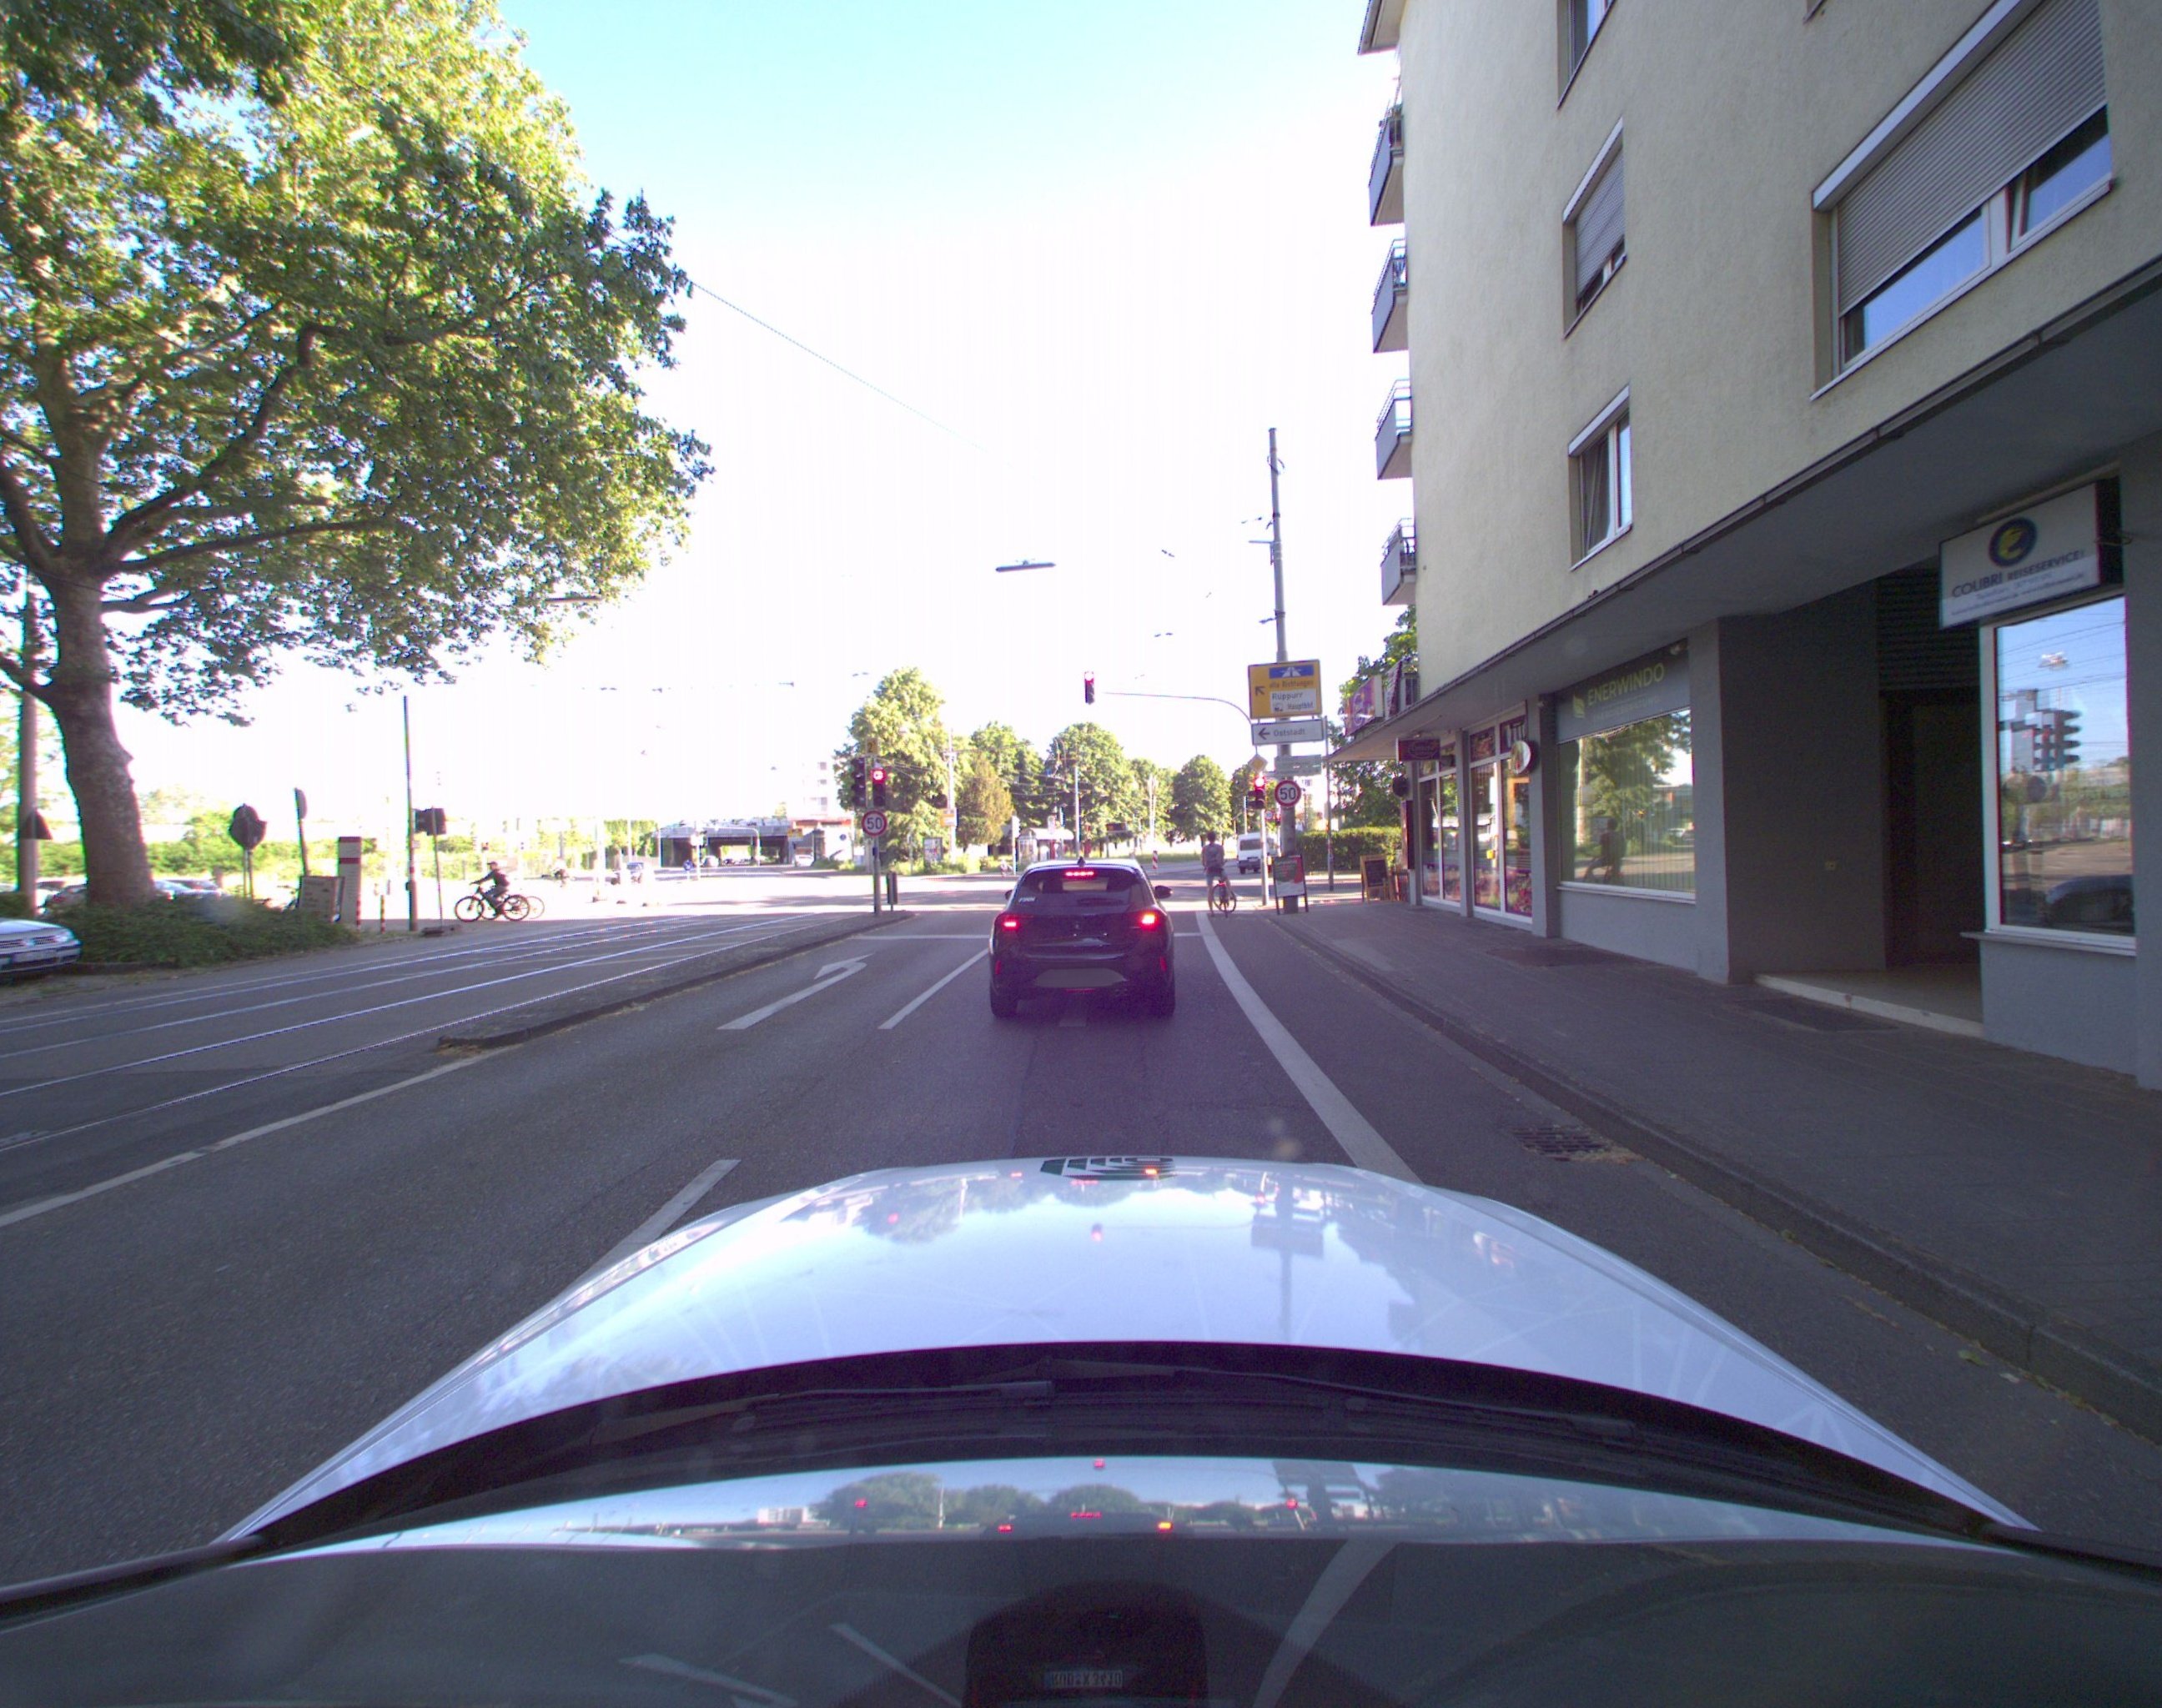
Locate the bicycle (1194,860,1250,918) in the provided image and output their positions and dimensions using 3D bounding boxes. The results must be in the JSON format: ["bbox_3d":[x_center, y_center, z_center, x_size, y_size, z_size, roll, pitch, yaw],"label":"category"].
[{"bbox_3d":[3.065,0.733,17.926,0.857,1.153,2.172,-2,0,1],"label":"bicycle"}]

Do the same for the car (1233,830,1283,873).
[{"bbox_3d":[10.147,-0.152,46.378,2.046,2.248,4.912,-2,0,20],"label":"car"}]

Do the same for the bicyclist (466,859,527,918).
[{"bbox_3d":[-15.930,0.925,22.224,1.117,1.520,0.915,-2,0,-21],"label":"bicyclist"}]

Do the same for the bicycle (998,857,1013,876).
[{"bbox_3d":[-4.304,0.726,46.733,0.603,1.031,1.983,-2,0,2],"label":"bicycle"}]

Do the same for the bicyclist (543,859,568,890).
[{"bbox_3d":[-27.987,1.094,43.397,0.856,1.595,0.650,-2,0,6],"label":"bicyclist"}]

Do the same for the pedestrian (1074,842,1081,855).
[{"bbox_3d":[-0.521,-0.793,119.528,0.915,1.981,0.991,0,-1,-4],"label":"pedestrian"}]

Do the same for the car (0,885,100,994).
[{"bbox_3d":[-16.959,1.199,11.358,4.497,1.429,1.676,0,0,0],"label":"car"}]

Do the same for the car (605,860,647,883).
[{"bbox_3d":[-31.285,1.156,56.098,1.830,1.519,3.870,0,0,-18],"label":"car"}]

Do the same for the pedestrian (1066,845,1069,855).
[{"bbox_3d":[-1.849,-0.512,110.806,0.411,1.412,0.436,0,-1,-1],"label":"pedestrian"}]

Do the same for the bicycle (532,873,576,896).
[{"bbox_3d":[-28.087,1.624,43.413,2.044,1.094,0.593,-2,0,6],"label":"bicycle"}]

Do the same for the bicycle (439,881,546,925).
[{"bbox_3d":[-15.997,1.306,22.200,2.199,1.033,0.828,-2,0,-21],"label":"bicycle"}]

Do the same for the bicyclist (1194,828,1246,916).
[{"bbox_3d":[3.045,0.389,17.899,0.938,1.851,0.864,-2,0,1],"label":"bicyclist"}]

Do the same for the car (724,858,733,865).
[{"bbox_3d":[-80.506,1.694,185.955,2.003,1.602,4.213,-2,0,-24],"label":"car"}]

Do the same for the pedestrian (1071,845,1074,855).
[{"bbox_3d":[-1.116,-0.512,110.239,0.411,1.412,0.436,0,-1,1],"label":"pedestrian"}]

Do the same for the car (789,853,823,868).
[{"bbox_3d":[-36.808,0.835,109.171,4.192,1.805,1.724,-2,0,-22],"label":"car"}]

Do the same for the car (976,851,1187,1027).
[{"bbox_3d":[0.081,0.696,8.817,1.720,1.429,4.189,-1,0,2],"label":"car"}]

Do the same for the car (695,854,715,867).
[{"bbox_3d":[-53.930,0.923,116.925,2.221,1.823,4.118,-2,0,-21],"label":"car"}]
